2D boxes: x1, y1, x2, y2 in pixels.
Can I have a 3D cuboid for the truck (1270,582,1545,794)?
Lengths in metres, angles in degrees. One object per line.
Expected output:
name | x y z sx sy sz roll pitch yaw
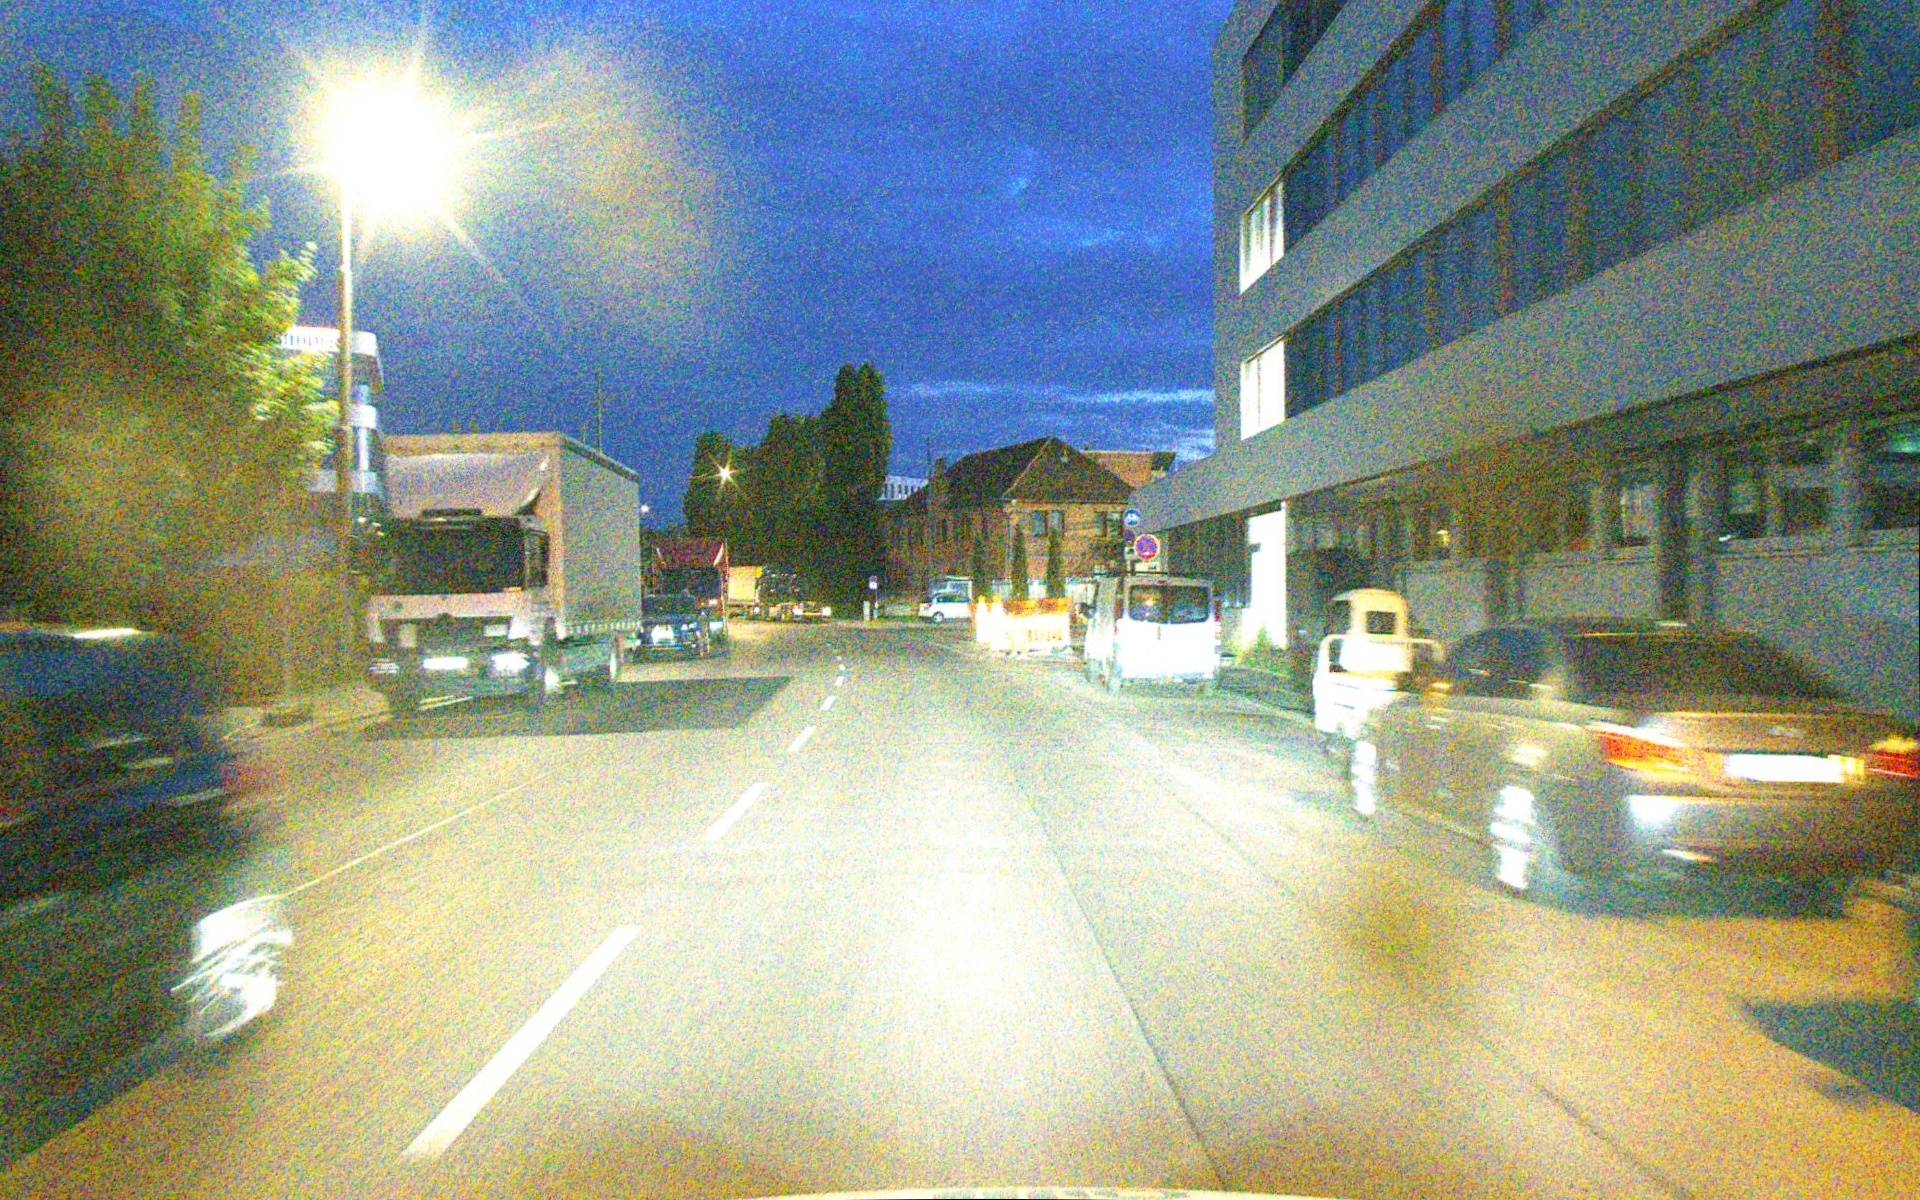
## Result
truck | 3.927 0.710 15.094 1.342 1.673 3.810 0 0 -2

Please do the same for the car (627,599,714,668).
car | -7.834 0.860 45.119 1.906 1.747 5.192 -1 0 -5

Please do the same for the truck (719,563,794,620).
truck | -14.555 -0.535 117.628 2.717 3.849 10.155 0 0 -22

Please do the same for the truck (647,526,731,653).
truck | -9.688 -0.337 59.764 2.721 4.192 9.323 -1 0 -8

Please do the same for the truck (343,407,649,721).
truck | -6.992 -0.462 26.528 2.691 4.105 9.554 0 0 -3

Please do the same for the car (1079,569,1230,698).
car | 3.321 0.550 29.139 1.953 2.049 4.910 -1 0 -1

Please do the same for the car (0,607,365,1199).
car | -3.088 0.778 4.136 1.820 1.445 3.998 -2 0 -2

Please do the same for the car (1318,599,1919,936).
car | 3.717 0.759 10.053 1.907 1.515 5.009 0 0 -1

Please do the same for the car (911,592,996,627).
car | -0.350 0.521 91.455 4.269 1.675 1.879 -3 1 -23

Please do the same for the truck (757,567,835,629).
truck | -10.792 -0.098 108.047 2.717 3.849 9.076 0 0 -22

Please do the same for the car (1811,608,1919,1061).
car | 3.888 0.750 3.665 1.733 1.437 4.551 0 0 1
